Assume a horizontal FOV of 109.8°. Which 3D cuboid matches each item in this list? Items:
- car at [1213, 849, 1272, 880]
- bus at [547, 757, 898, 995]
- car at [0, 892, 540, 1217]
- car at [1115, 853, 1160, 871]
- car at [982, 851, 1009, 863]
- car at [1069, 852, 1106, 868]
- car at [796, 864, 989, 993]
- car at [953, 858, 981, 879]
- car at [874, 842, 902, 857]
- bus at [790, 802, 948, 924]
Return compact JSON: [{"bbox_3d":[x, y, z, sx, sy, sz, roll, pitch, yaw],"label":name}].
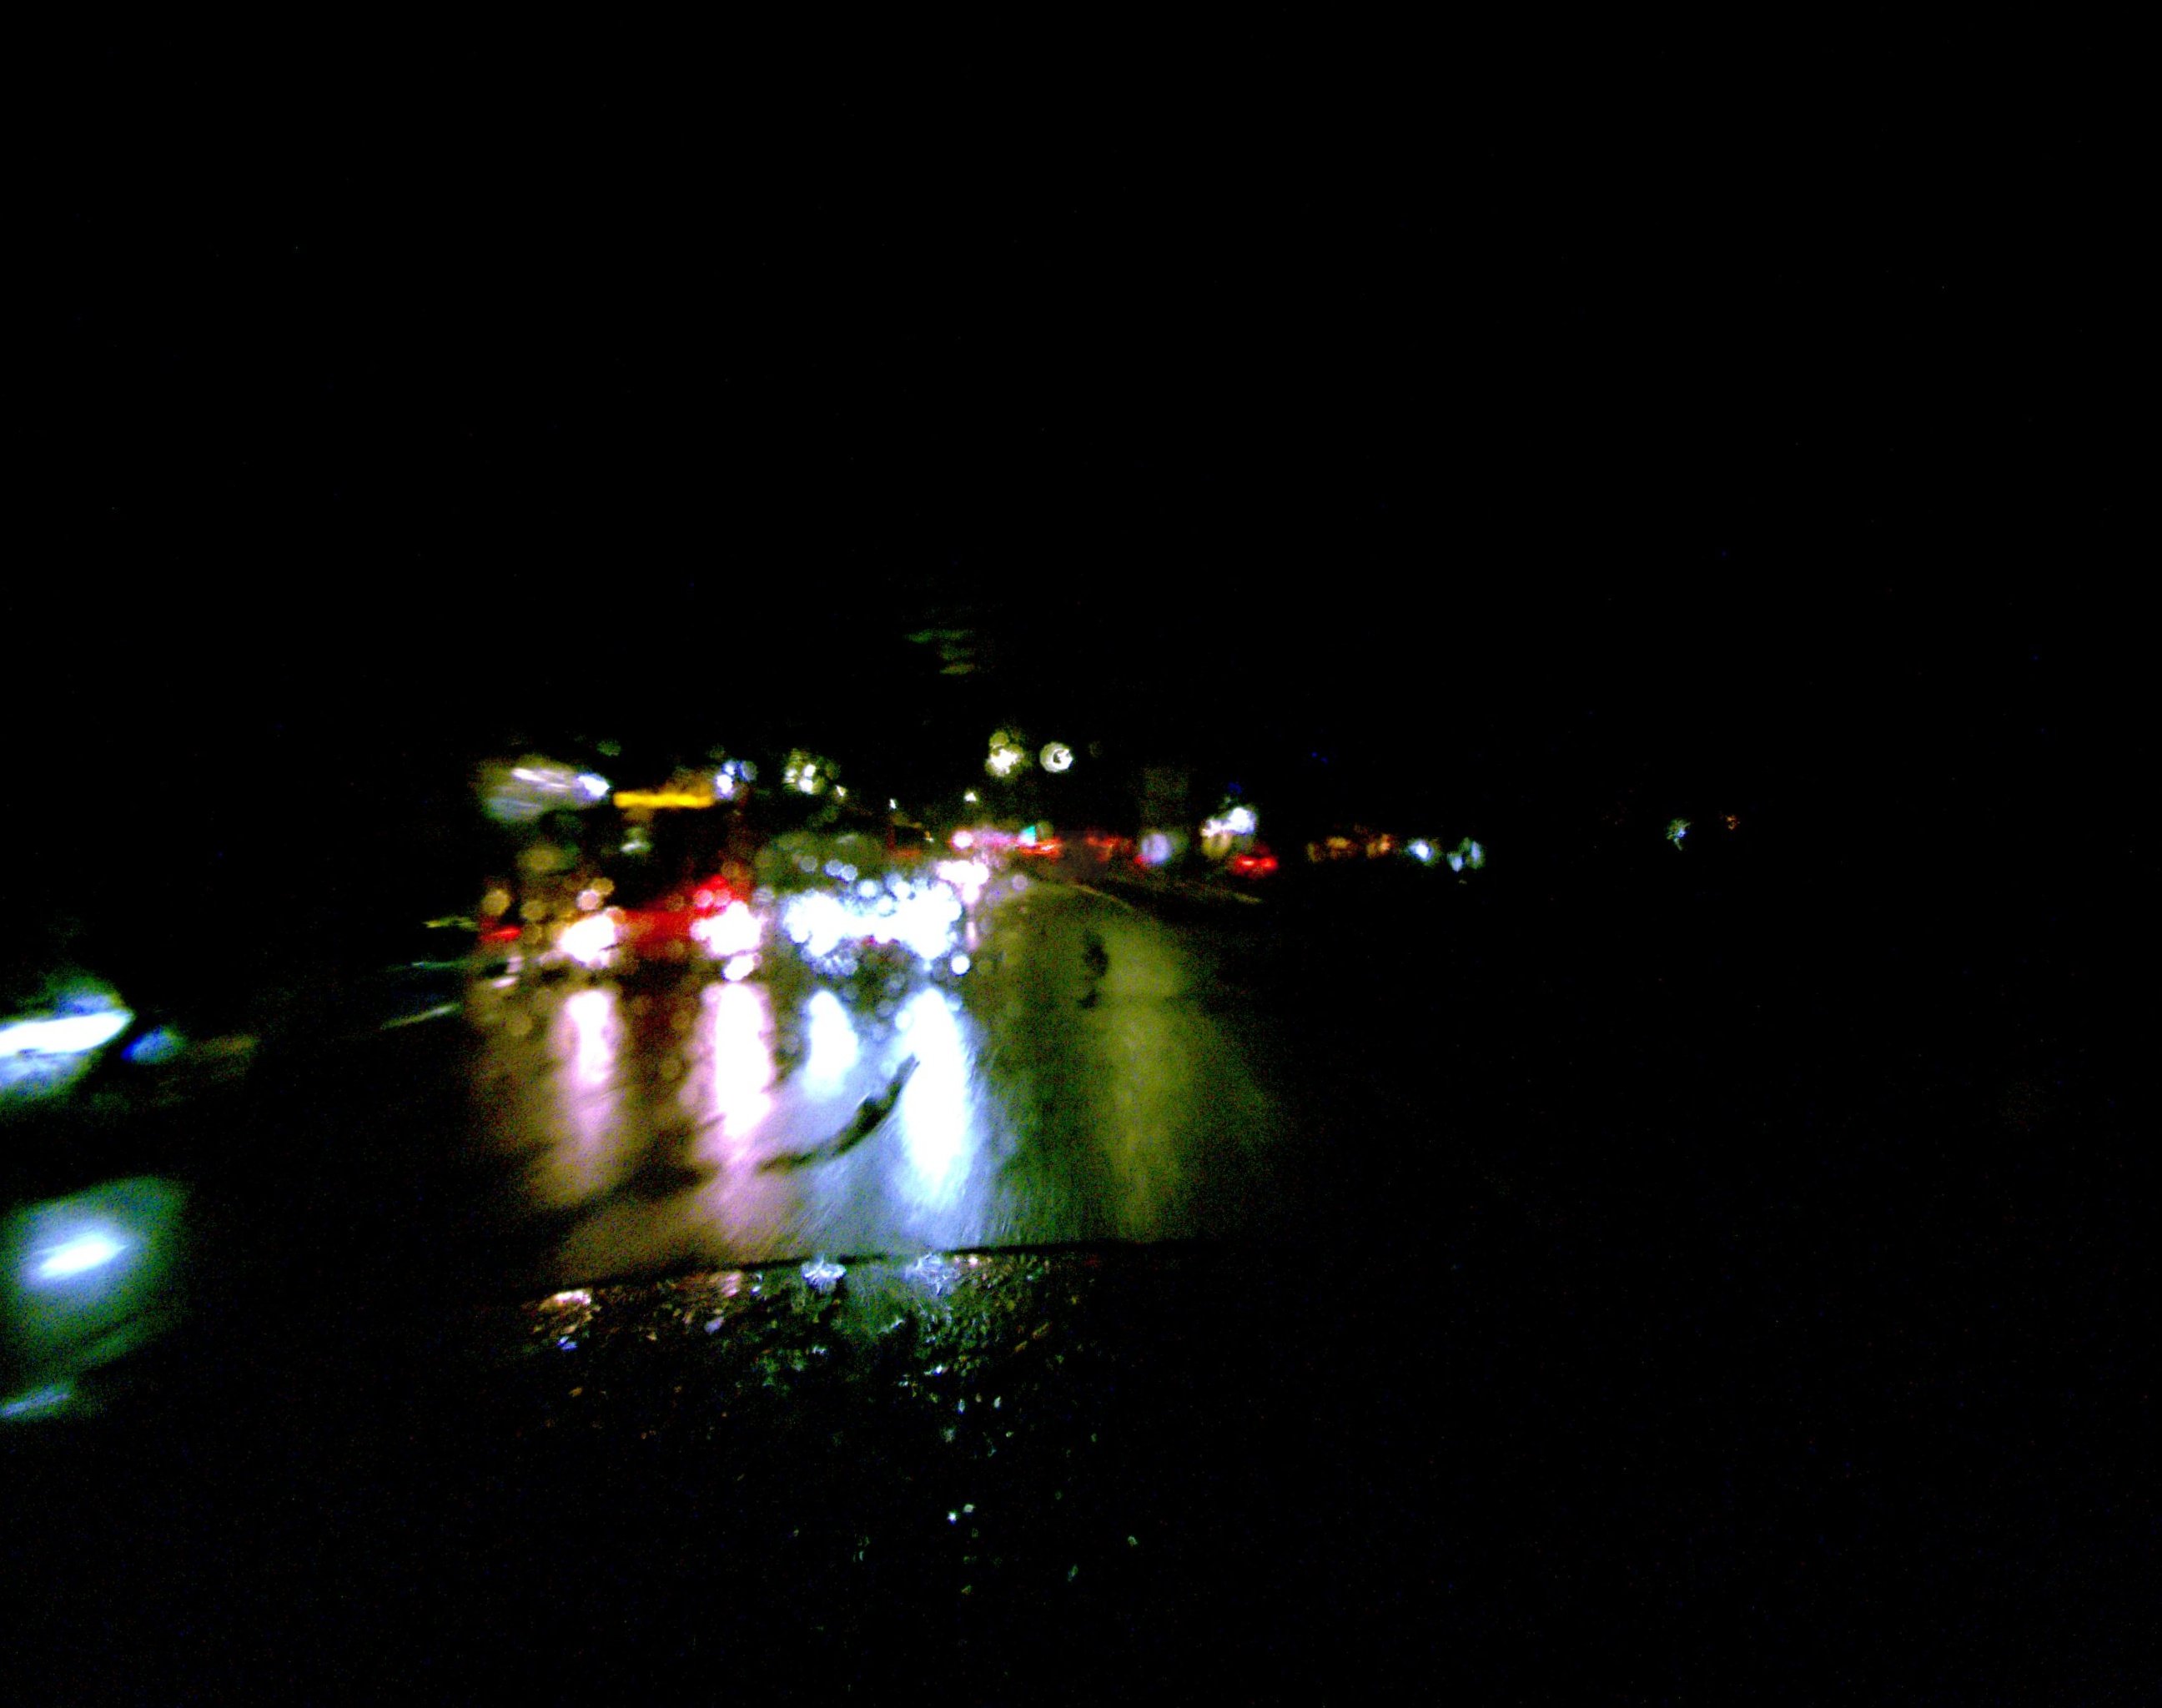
[{"bbox_3d":[8.563,0.534,40.651,1.602,1.528,4.308,-2,1,-10],"label":"car"},{"bbox_3d":[-6.187,0.276,15.514,2.741,3.258,9.697,-2,0,-2],"label":"bus"},{"bbox_3d":[-6.558,1.152,5.924,1.724,1.478,4.161,0,0,-1],"label":"car"},{"bbox_3d":[4.629,0.670,63.064,1.903,1.381,4.604,-2,1,-20],"label":"car"},{"bbox_3d":[-10.962,0.381,97.397,1.903,1.381,4.830,-2,1,-26],"label":"car"},{"bbox_3d":[0.620,0.585,75.063,1.903,1.381,4.832,-2,1,-22],"label":"car"},{"bbox_3d":[-2.720,1.009,12.028,1.724,1.478,4.163,-5,0,3],"label":"car"},{"bbox_3d":[-8.513,1.067,56.635,1.757,1.438,3.968,0,0,-13],"label":"car"},{"bbox_3d":[-19.060,-0.474,75.084,1.711,1.382,3.991,-2,1,-28],"label":"car"},{"bbox_3d":[-6.533,0.210,25.245,2.741,3.219,9.697,-2,0,-2],"label":"bus"}]
